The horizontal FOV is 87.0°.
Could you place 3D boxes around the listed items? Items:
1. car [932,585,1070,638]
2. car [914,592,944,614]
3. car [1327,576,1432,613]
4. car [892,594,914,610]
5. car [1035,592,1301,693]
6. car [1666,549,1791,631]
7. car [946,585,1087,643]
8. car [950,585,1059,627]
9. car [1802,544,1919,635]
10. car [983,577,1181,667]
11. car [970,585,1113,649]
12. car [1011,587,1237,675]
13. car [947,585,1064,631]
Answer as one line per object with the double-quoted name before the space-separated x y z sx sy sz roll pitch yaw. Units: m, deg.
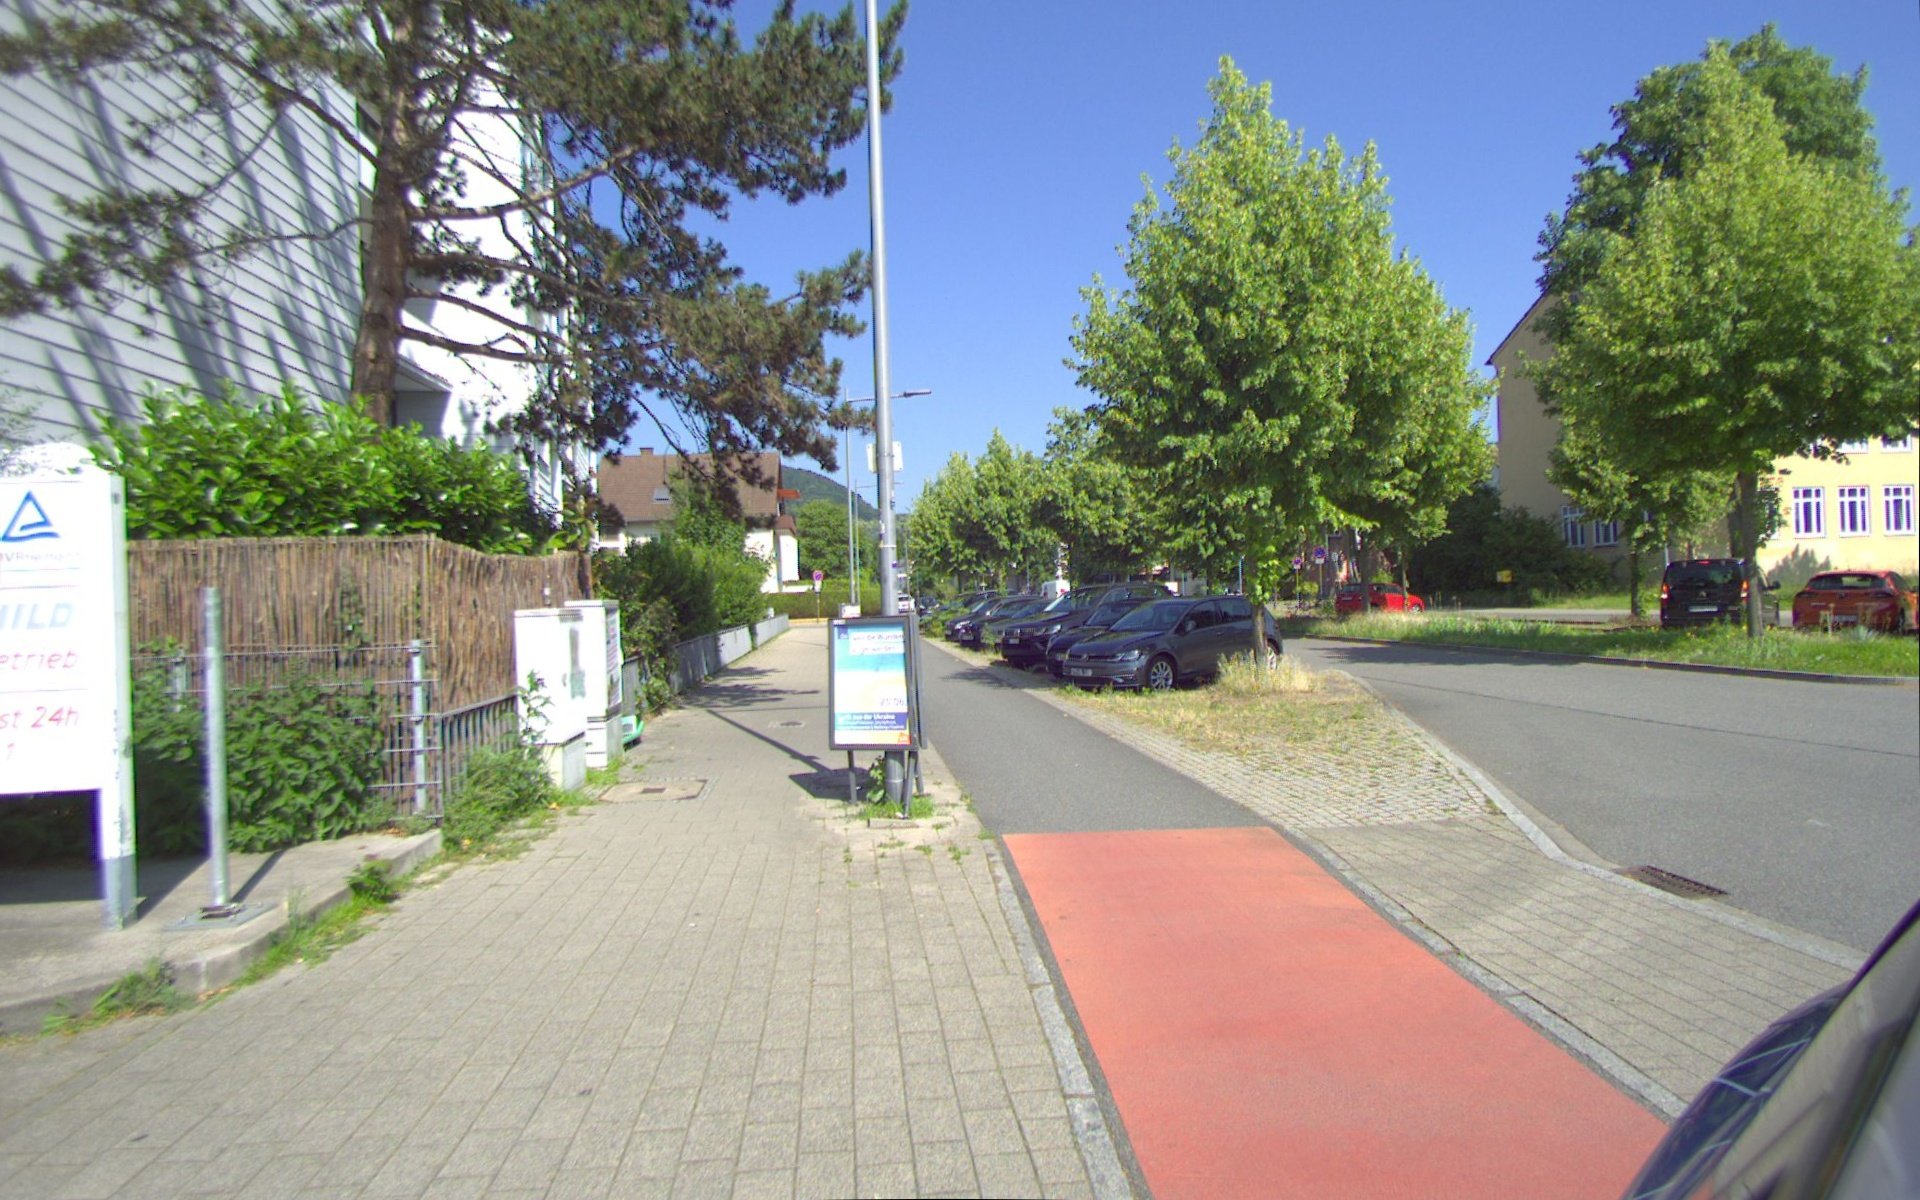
"car" 1.342 0.362 33.230 4.138 1.500 1.708 -2 0 -22
"car" -2.310 0.203 74.183 1.670 1.500 4.232 -2 0 -9
"car" 16.715 -0.220 40.335 3.649 1.408 1.885 -1 0 -25
"car" -5.603 0.160 99.075 1.670 1.500 4.232 -2 0 -9
"car" 3.444 0.609 16.565 4.144 1.435 1.882 -1 0 -33
"car" 18.217 -0.239 23.921 1.876 1.744 4.158 0 0 44
"car" 1.742 0.394 30.397 4.151 1.500 1.703 -3 0 -39
"car" 1.815 0.225 41.550 4.138 1.500 1.708 -2 0 -11
"car" 19.211 -0.220 21.386 1.876 1.744 4.158 0 0 44
"car" 2.713 0.402 21.897 4.324 1.742 1.703 -1 0 -39
"car" 2.287 0.422 27.515 1.697 1.500 4.164 -2 0 41
"car" 3.225 0.535 19.638 4.144 1.500 1.882 -1 0 -33
"car" 1.707 0.290 38.548 4.138 1.500 1.708 -2 0 -11
